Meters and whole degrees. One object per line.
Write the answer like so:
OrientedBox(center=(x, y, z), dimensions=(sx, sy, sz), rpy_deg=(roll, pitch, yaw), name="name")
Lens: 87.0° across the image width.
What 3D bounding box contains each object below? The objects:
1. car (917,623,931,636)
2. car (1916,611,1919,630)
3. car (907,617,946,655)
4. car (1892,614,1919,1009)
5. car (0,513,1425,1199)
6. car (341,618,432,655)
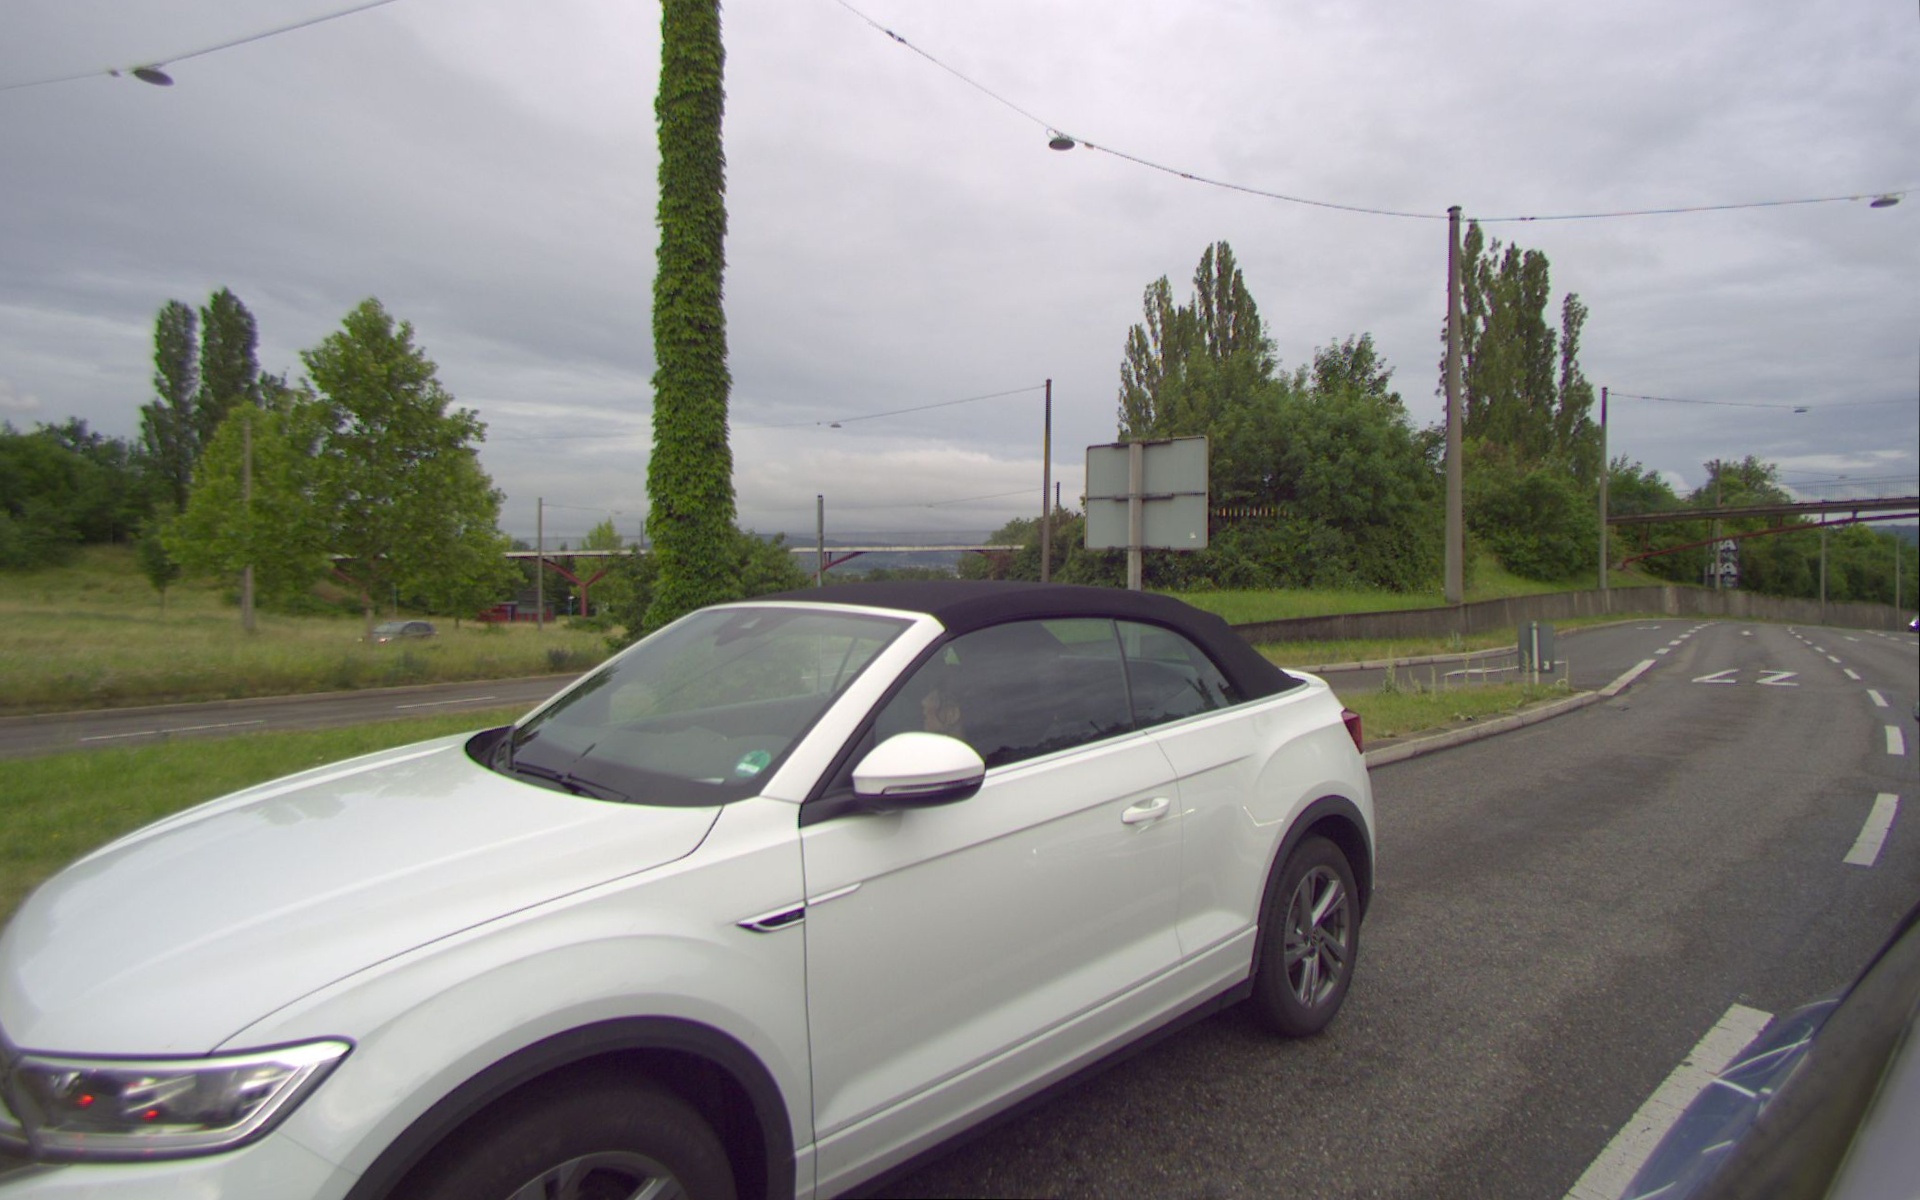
OrientedBox(center=(-4.503, 3.678, 127.669), dimensions=(1.653, 1.438, 4.082), rpy_deg=(1, 0, 0), name="car")
OrientedBox(center=(84.970, 1.764, 88.203), dimensions=(3.928, 1.700, 1.910), rpy_deg=(0, -3, -39), name="car")
OrientedBox(center=(-1.764, 1.902, 53.525), dimensions=(1.961, 1.872, 4.823), rpy_deg=(-1, -2, -1), name="car")
OrientedBox(center=(5.504, 0.738, 4.181), dimensions=(4.061, 1.385, 1.894), rpy_deg=(-1, 1, -39), name="car")
OrientedBox(center=(-0.287, 0.655, 3.056), dimensions=(4.160, 1.572, 1.714), rpy_deg=(-1, 1, -44), name="car")
OrientedBox(center=(-26.991, 1.689, 47.783), dimensions=(1.963, 1.556, 3.959), rpy_deg=(0, 1, 2), name="car")
